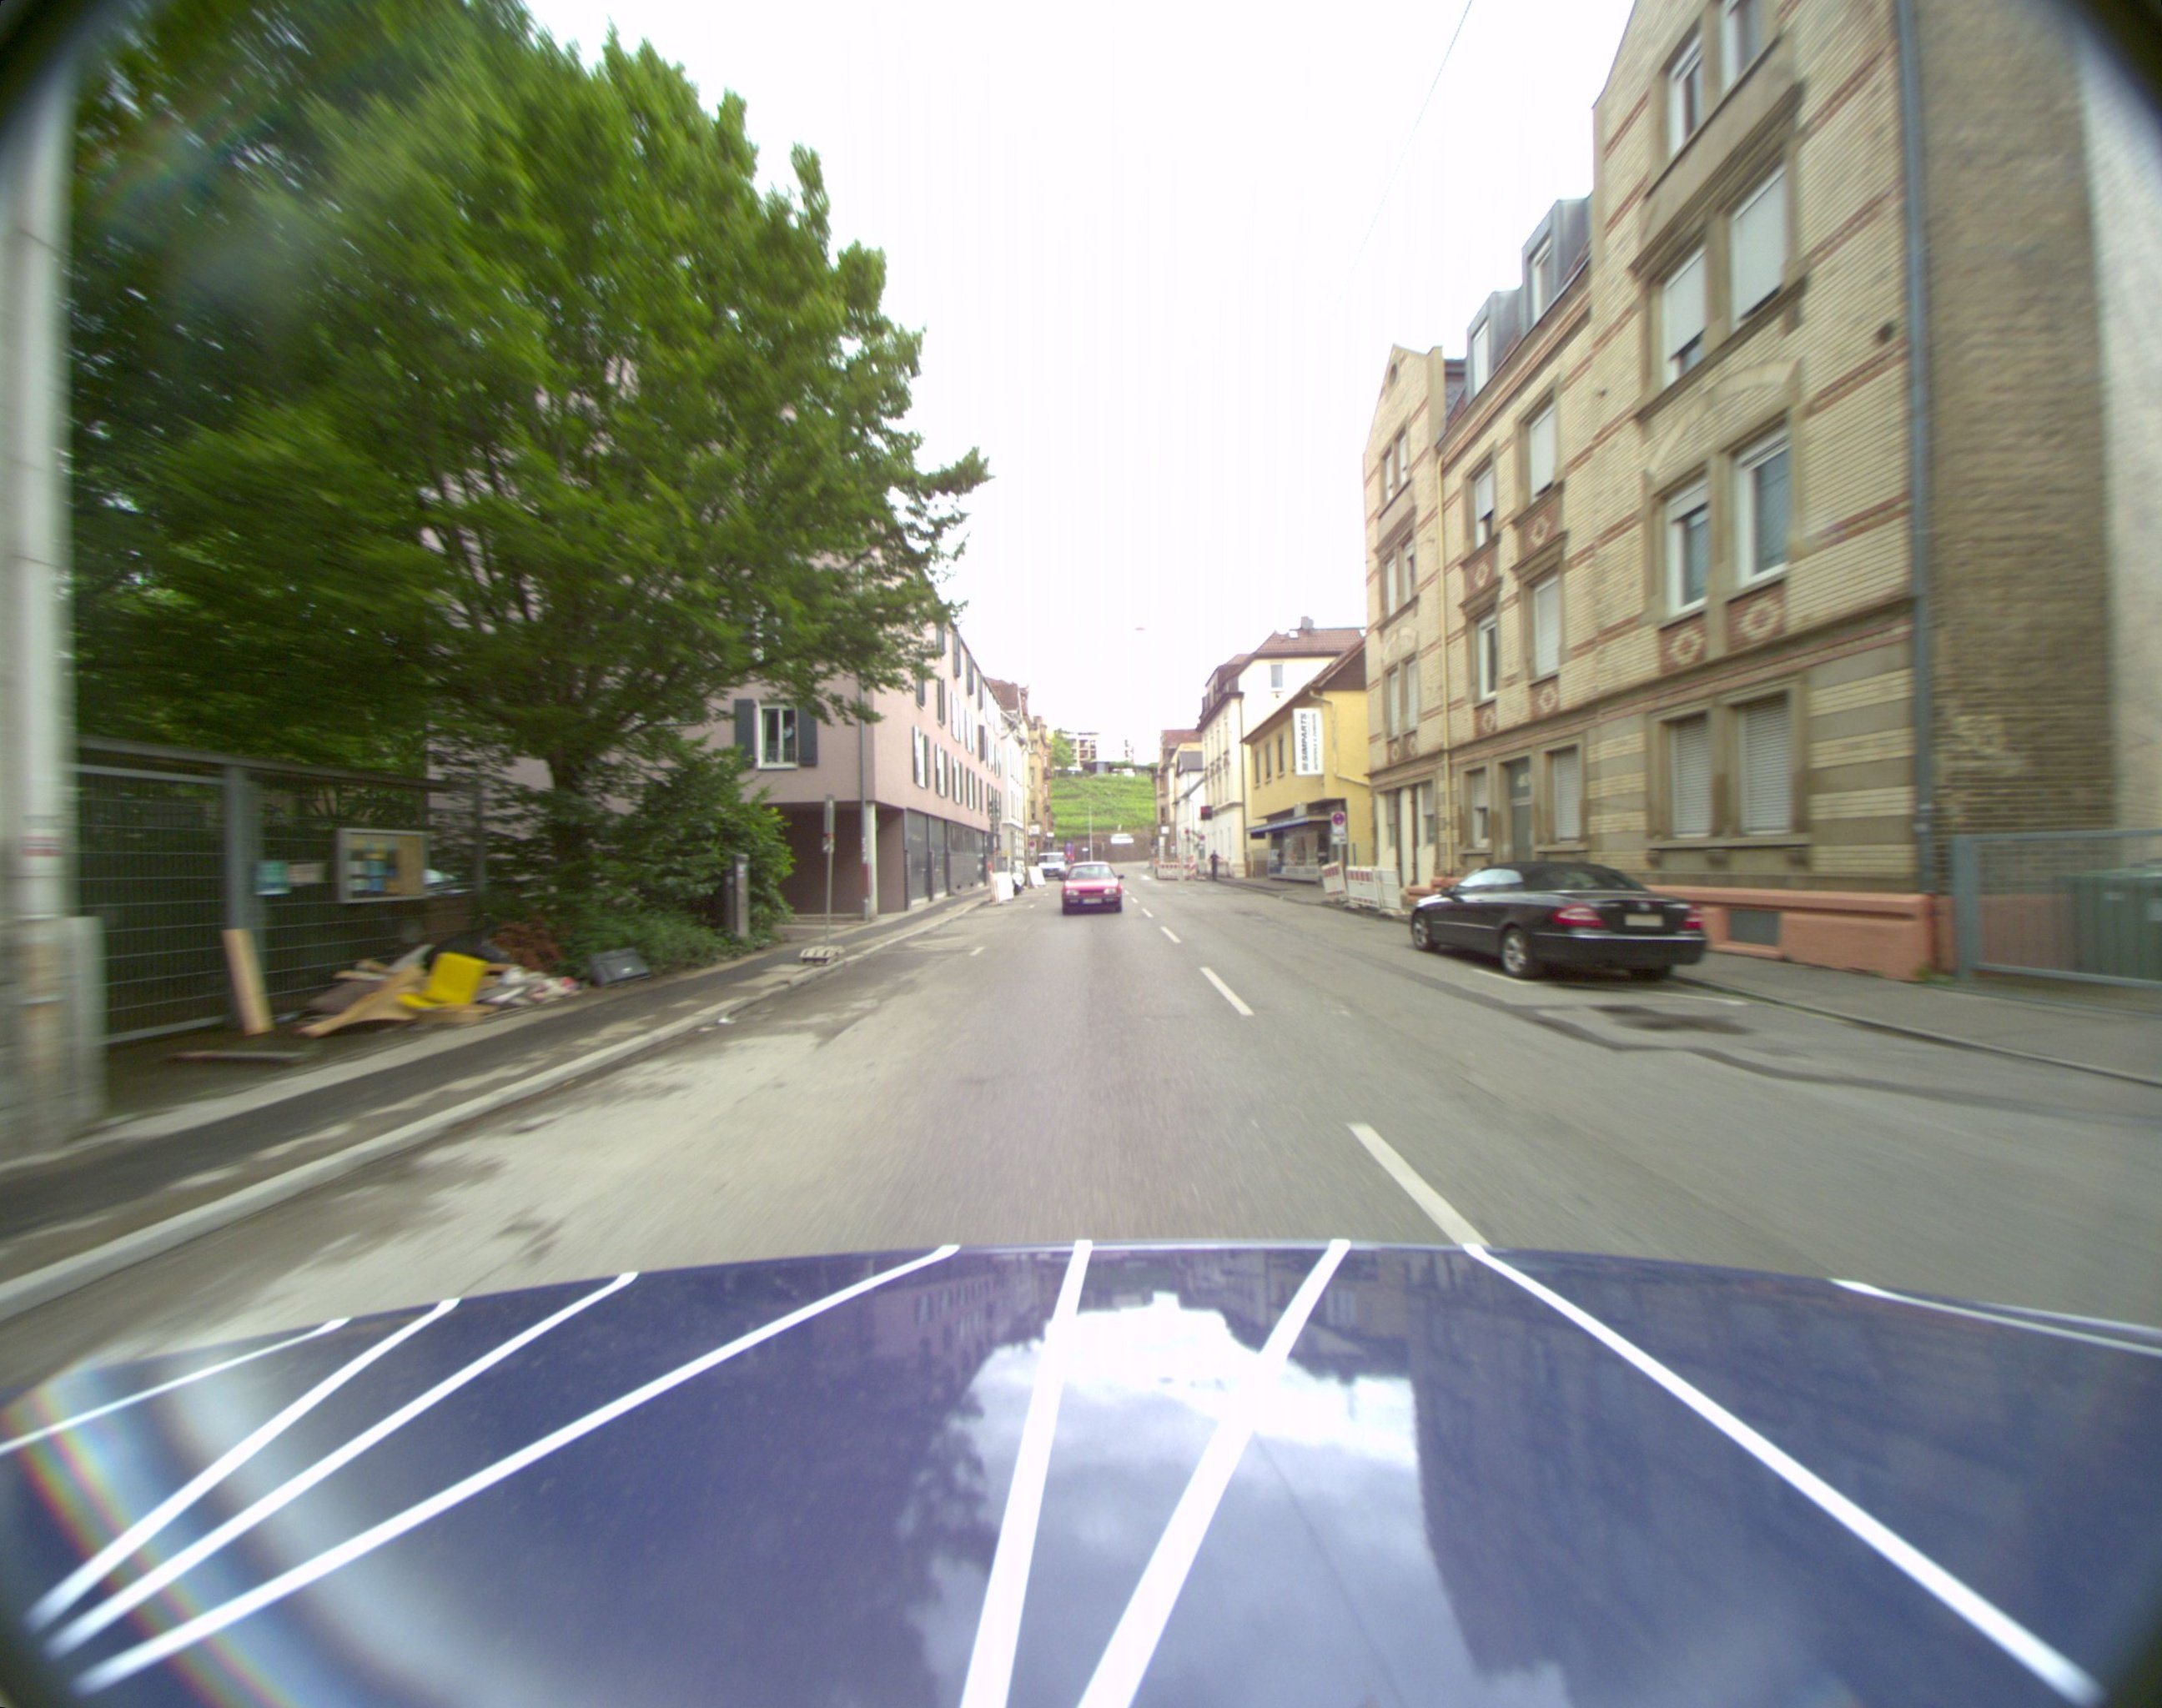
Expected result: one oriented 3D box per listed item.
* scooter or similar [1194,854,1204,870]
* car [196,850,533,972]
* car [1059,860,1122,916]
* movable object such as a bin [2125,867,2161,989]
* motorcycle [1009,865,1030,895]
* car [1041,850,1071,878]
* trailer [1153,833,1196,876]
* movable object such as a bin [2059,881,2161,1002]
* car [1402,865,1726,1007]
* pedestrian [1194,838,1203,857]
[{"bbox_3d":[9.855,0.668,63.505,0.561,1.283,1.227,-2,1,1],"label":"scooter or similar"},{"bbox_3d":[-10.857,0.775,11.995,1.640,1.575,3.999,1,-1,-3],"label":"car"},{"bbox_3d":[0.344,0.919,22.281,1.626,1.387,4.000,-1,0,3],"label":"car"},{"bbox_3d":[10.467,0.703,7.199,0.513,1.133,0.517,-2,1,-14],"label":"movable object such as a bin"},{"bbox_3d":[-2.754,1.152,34.203,0.648,1.219,2.337,-2,1,1],"label":"motorcycle"},{"bbox_3d":[-1.838,0.711,56.651,1.998,1.970,4.877,-1,0,0],"label":"car"},{"bbox_3d":[6.316,-0.006,52.146,2.450,2.788,6.303,0,0,3],"label":"trailer"},{"bbox_3d":[9.981,0.803,7.212,0.504,1.043,0.667,-3,1,0],"label":"movable object such as a bin"},{"bbox_3d":[5.906,0.874,10.024,1.582,1.375,4.354,0,0,1],"label":"car"},{"bbox_3d":[9.806,-0.524,63.540,0.602,1.557,0.607,-2,1,0],"label":"pedestrian"}]
